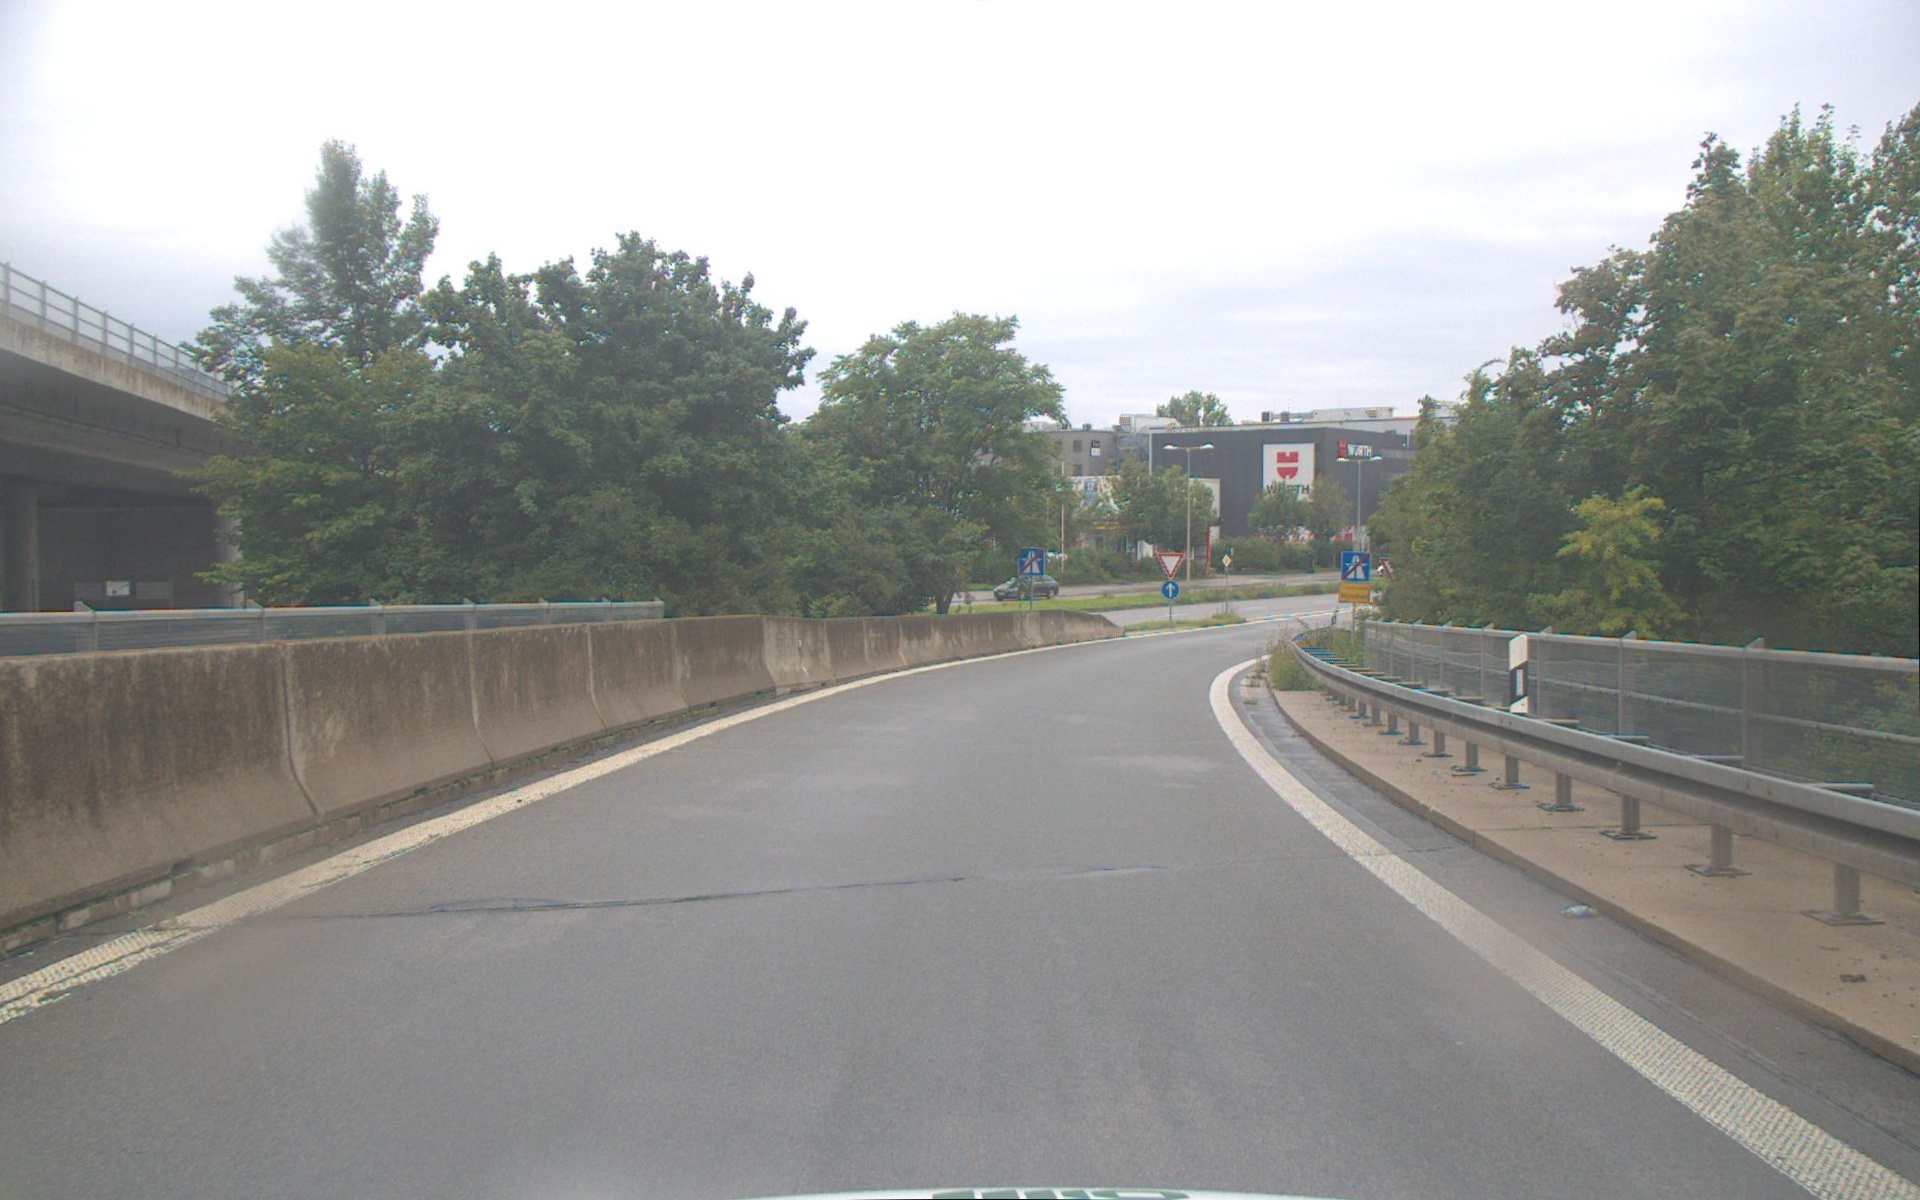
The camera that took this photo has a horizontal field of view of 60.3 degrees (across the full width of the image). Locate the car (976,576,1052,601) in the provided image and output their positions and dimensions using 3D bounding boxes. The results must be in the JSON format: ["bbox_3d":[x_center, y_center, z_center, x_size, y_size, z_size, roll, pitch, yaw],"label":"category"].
[{"bbox_3d":[3.186,-0.695,96.773,1.938,1.421,4.794,1,2,39],"label":"car"}]
